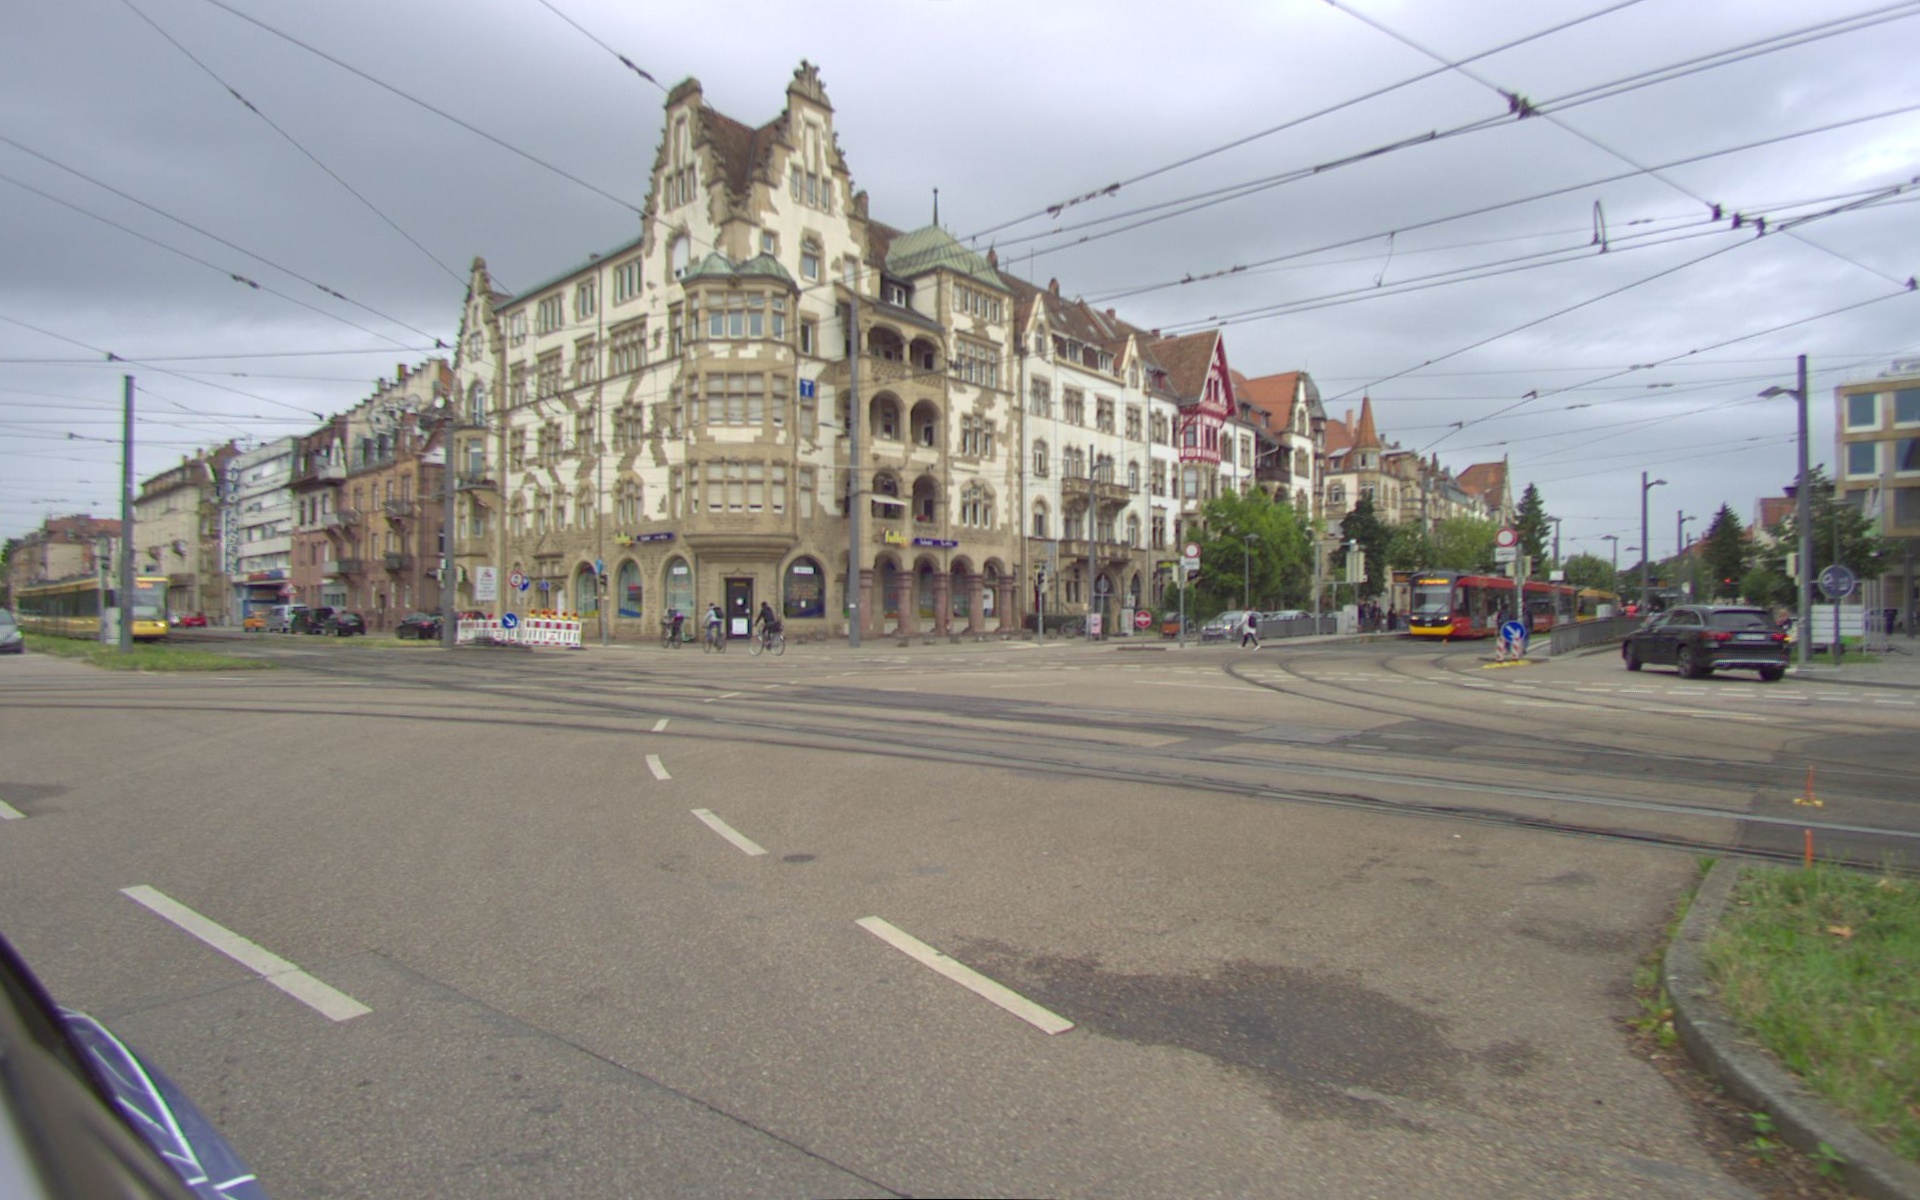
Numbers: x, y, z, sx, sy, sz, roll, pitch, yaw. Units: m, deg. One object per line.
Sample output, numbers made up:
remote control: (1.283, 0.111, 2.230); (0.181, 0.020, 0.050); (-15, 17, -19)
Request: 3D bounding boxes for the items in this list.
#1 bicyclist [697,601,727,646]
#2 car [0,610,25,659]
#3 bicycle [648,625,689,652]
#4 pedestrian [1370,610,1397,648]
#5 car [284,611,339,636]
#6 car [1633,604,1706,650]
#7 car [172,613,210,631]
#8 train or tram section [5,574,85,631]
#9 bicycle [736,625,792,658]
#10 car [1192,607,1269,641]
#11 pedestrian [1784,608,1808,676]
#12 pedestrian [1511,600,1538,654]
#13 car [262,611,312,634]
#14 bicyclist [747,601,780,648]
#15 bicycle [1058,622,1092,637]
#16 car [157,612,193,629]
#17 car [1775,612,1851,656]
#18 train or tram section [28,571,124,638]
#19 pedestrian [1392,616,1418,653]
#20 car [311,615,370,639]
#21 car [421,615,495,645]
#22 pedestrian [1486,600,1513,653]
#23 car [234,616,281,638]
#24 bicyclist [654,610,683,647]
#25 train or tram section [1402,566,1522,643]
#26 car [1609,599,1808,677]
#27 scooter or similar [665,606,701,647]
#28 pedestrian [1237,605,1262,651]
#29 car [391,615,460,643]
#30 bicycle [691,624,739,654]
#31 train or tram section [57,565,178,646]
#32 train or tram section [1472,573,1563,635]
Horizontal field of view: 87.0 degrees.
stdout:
bicyclist: (-9.061, 0.858, 36.979); (0.858, 1.618, 0.715); (-2, -2, 39)
car: (-34.205, 1.180, 35.331); (3.773, 1.652, 1.845); (0, -1, 41)
bicycle: (-11.526, 1.521, 39.981); (0.698, 1.045, 2.024); (1, -2, -44)
pedestrian: (22.864, 1.568, 54.679); (1.121, 2.029, 1.056); (0, -1, 38)
car: (-43.825, 1.590, 68.394); (3.996, 1.608, 1.974); (0, -1, 39)
car: (26.366, 0.973, 37.565); (1.997, 1.608, 3.949); (-1, -1, 38)
car: (-71.767, 1.999, 94.407); (3.996, 1.608, 1.974); (0, -1, 39)
train or tram section: (-60.845, 0.170, 67.152); (13.618, 3.463, 2.616); (0, -1, 43)
bicycle: (-6.514, 1.386, 33.537); (1.912, 1.045, 0.741); (-3, -2, 38)
car: (12.591, 1.095, 46.983); (1.800, 1.522, 3.942); (0, -1, 44)
pedestrian: (22.677, 1.134, 27.461); (0.460, 1.808, 0.412); (0, -1, 32)
pedestrian: (18.681, 0.887, 33.483); (0.683, 1.767, 0.848); (0, -1, 37)
car: (-48.541, 1.586, 72.969); (3.996, 1.608, 1.974); (0, -1, 39)
bicyclist: (-6.523, 0.808, 33.550); (0.764, 1.532, 0.741); (-3, -2, 38)
bicycle: (6.056, 1.541, 53.233); (1.803, 0.744, 0.554); (0, -1, 42)
car: (-76.420, 1.990, 98.487); (3.996, 1.608, 1.974); (0, -1, 39)
car: (29.014, 1.114, 34.387); (1.796, 1.431, 3.650); (-1, -1, 43)
train or tram section: (-50.791, 0.222, 57.950); (13.618, 3.463, 2.616); (0, -1, 43)
pedestrian: (25.300, 1.949, 57.560); (1.121, 2.029, 1.056); (0, -1, 38)
car: (-39.400, 1.674, 64.350); (3.996, 1.453, 1.974); (0, -1, 39)
car: (-26.168, 1.530, 52.711); (3.996, 1.453, 1.974); (0, -1, 39)
pedestrian: (18.101, 0.885, 33.959); (0.683, 1.767, 0.848); (0, -1, 37)
car: (-53.742, 2.018, 77.392); (3.996, 1.608, 1.974); (0, -1, 39)
bicyclist: (-11.516, 1.132, 39.977); (0.698, 1.455, 0.973); (1, -2, -44)
train or tram section: (26.641, 0.299, 53.176); (2.601, 3.540, 13.930); (0, -1, 39)
car: (17.051, 0.826, 23.356); (1.723, 1.611, 4.312); (0, -1, 6)
scooter or similar: (-12.040, 1.150, 43.950); (1.829, 1.728, 0.558); (0, -1, 40)
pedestrian: (10.804, 1.029, 37.712); (0.704, 1.699, 0.600); (0, -1, 40)
car: (-29.490, 1.559, 55.808); (3.996, 1.453, 1.974); (0, -1, 39)
bicycle: (-8.939, 1.422, 36.867); (1.907, 1.045, 0.715); (-2, -2, 39)
train or tram section: (-40.795, 0.256, 48.746); (13.618, 3.463, 2.616); (0, -1, 43)
train or tram section: (35.473, 0.328, 64.001); (2.601, 3.540, 13.930); (0, -1, 39)
